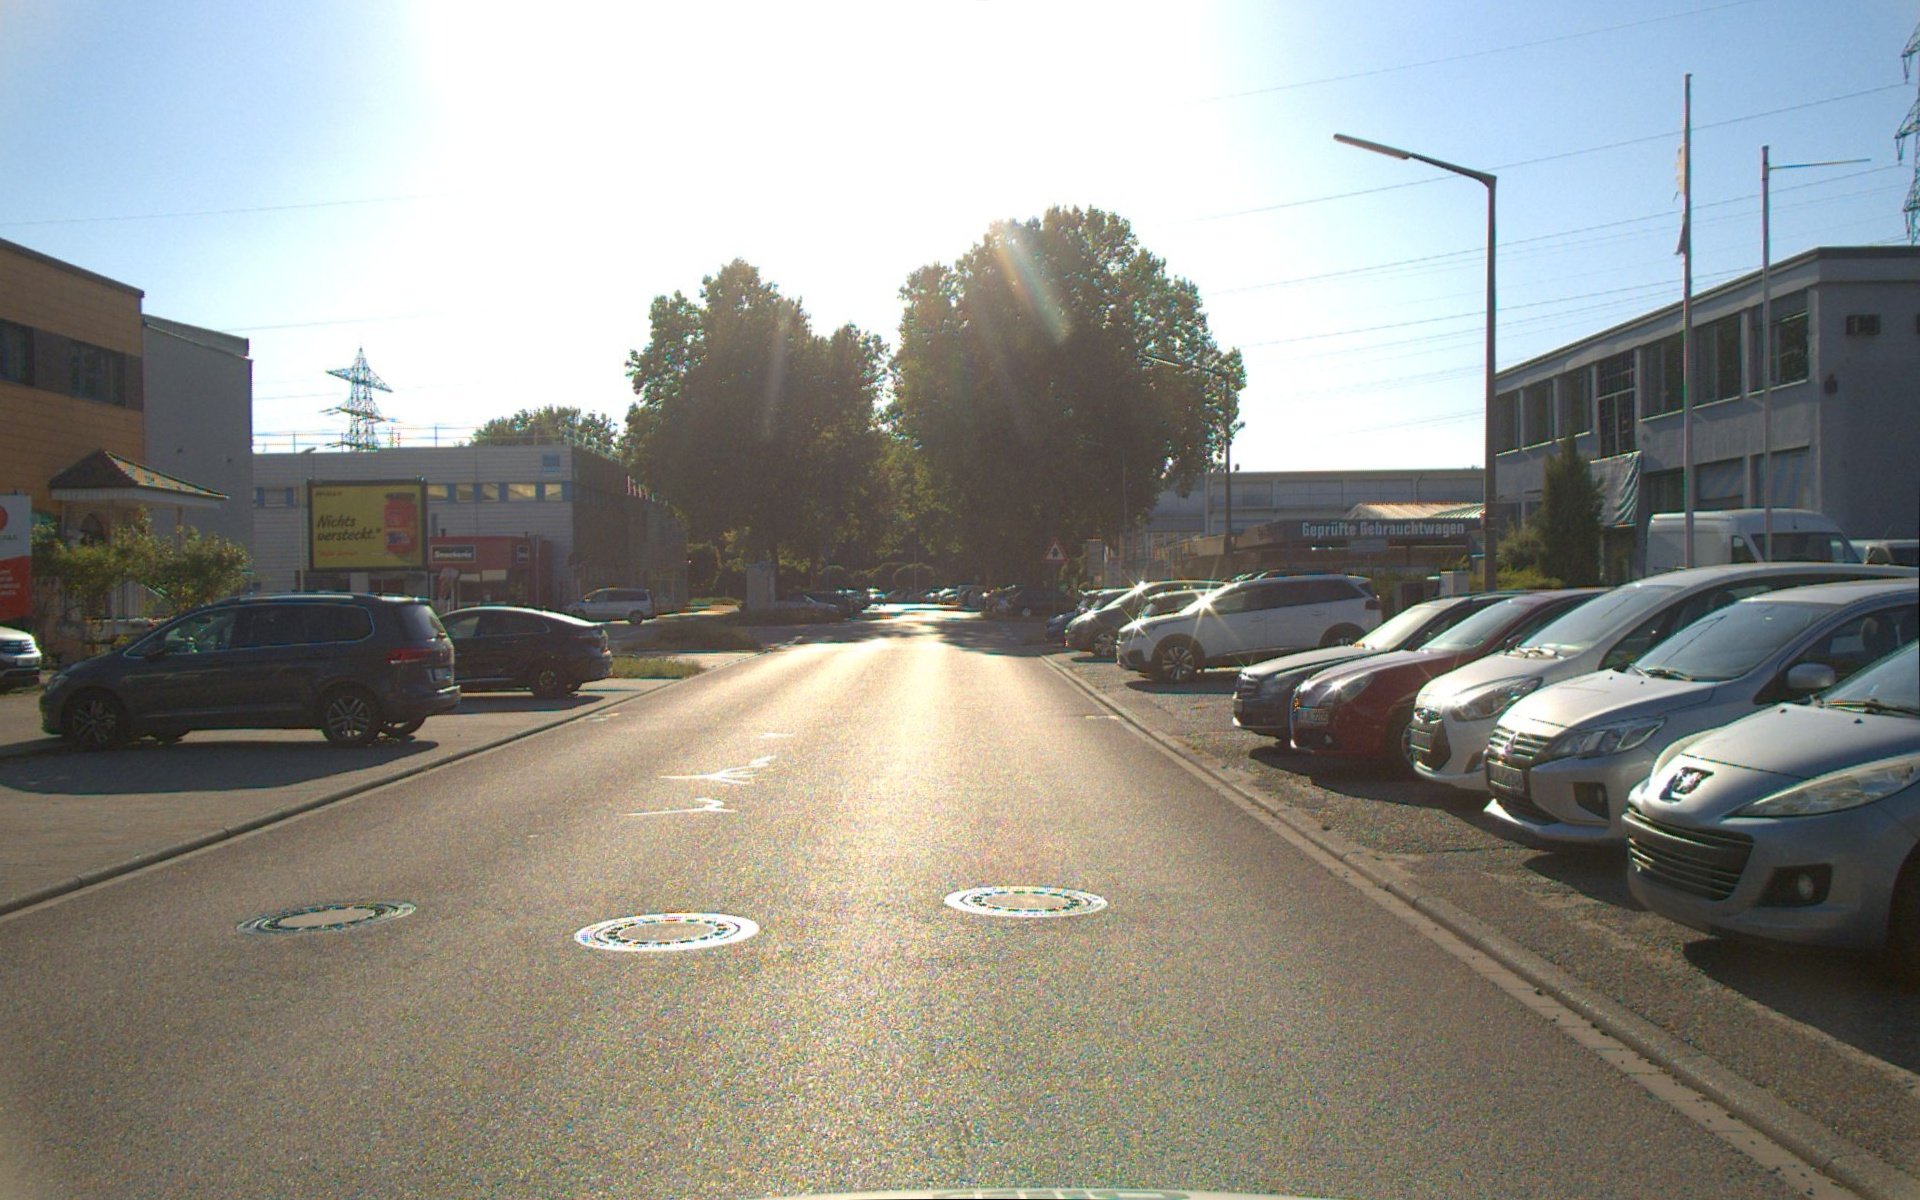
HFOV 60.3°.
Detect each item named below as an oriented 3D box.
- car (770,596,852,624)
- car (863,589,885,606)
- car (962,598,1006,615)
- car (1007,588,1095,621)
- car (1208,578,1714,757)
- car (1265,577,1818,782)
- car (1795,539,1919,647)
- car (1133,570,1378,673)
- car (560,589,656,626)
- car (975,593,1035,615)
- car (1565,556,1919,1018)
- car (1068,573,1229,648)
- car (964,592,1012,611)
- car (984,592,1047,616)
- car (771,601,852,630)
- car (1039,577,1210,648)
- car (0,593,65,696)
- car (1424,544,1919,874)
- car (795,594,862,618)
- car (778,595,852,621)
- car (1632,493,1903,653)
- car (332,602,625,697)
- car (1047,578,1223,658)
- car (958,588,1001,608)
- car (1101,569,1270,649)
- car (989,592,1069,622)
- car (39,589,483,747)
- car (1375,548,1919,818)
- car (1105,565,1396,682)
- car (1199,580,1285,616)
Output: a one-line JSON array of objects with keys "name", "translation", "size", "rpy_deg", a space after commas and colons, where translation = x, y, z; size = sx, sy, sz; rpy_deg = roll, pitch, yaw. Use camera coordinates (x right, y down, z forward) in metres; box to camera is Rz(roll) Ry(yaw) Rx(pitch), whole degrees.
[{"name": "car", "translation": [-7.971, 0.539, 88.614], "size": [4.330, 1.427, 1.997], "rpy_deg": [0, 0, -6]}, {"name": "car", "translation": [-8.523, -0.263, 164.096], "size": [1.953, 1.637, 3.999], "rpy_deg": [1, 0, -1]}, {"name": "car", "translation": [2.189, 0.617, 151.640], "size": [3.906, 1.440, 1.826], "rpy_deg": [-1, 0, -1]}, {"name": "car", "translation": [4.180, 0.207, 76.613], "size": [3.906, 1.440, 2.000], "rpy_deg": [-1, 0, -1]}, {"name": "car", "translation": [4.856, 0.624, 16.529], "size": [4.347, 1.461, 2.135], "rpy_deg": [-3, 0, -2]}, {"name": "car", "translation": [4.888, 0.646, 14.221], "size": [4.159, 1.633, 1.744], "rpy_deg": [0, 0, -5]}, {"name": "car", "translation": [17.176, -0.113, 30.045], "size": [1.953, 1.830, 3.999], "rpy_deg": [0, 0, -1]}, {"name": "car", "translation": [5.478, 0.389, 31.005], "size": [4.163, 1.651, 1.920], "rpy_deg": [-3, 0, -2]}, {"name": "car", "translation": [-17.470, 0.368, 82.041], "size": [4.555, 1.771, 1.991], "rpy_deg": [0, 0, -17]}, {"name": "car", "translation": [2.991, 0.271, 110.794], "size": [3.906, 1.405, 1.826], "rpy_deg": [-1, 0, -1]}, {"name": "car", "translation": [4.866, 0.590, 6.942], "size": [3.909, 1.615, 1.866], "rpy_deg": [-2, 0, -5]}, {"name": "car", "translation": [4.930, 0.275, 43.626], "size": [3.908, 1.681, 1.741], "rpy_deg": [-4, 0, -3]}, {"name": "car", "translation": [2.356, 0.137, 139.401], "size": [3.906, 1.440, 1.826], "rpy_deg": [-1, 0, -1]}, {"name": "car", "translation": [3.516, 0.243, 104.824], "size": [3.906, 1.440, 1.826], "rpy_deg": [-1, 0, -1]}, {"name": "car", "translation": [-8.126, 0.838, 90.789], "size": [4.327, 1.543, 1.999], "rpy_deg": [0, 0, -2]}, {"name": "car", "translation": [4.545, 0.332, 46.101], "size": [4.435, 1.702, 1.752], "rpy_deg": [-3, 0, -4]}, {"name": "car", "translation": [-16.694, 0.677, 26.338], "size": [3.831, 1.583, 1.887], "rpy_deg": [0, 0, -1]}, {"name": "car", "translation": [5.066, 0.531, 9.709], "size": [4.028, 1.646, 2.057], "rpy_deg": [-2, 0, -5]}, {"name": "car", "translation": [-8.910, 0.392, 112.012], "size": [4.324, 1.543, 2.000], "rpy_deg": [0, 0, 0]}, {"name": "car", "translation": [-8.838, 0.492, 101.369], "size": [4.324, 1.543, 2.000], "rpy_deg": [0, 0, 0]}, {"name": "car", "translation": [14.726, -0.443, 30.672], "size": [1.953, 2.671, 6.136], "rpy_deg": [0, 0, -1]}, {"name": "car", "translation": [-7.820, 0.790, 27.243], "size": [4.228, 1.485, 2.200], "rpy_deg": [0, 0, -4]}, {"name": "car", "translation": [4.070, 0.411, 38.449], "size": [3.902, 1.641, 2.001], "rpy_deg": [-2, -1, 6]}, {"name": "car", "translation": [1.814, -0.191, 155.408], "size": [3.906, 1.808, 1.826], "rpy_deg": [-1, 0, -1]}, {"name": "car", "translation": [5.616, 0.227, 41.508], "size": [3.906, 1.681, 1.801], "rpy_deg": [-4, 0, 0]}, {"name": "car", "translation": [3.485, 0.360, 83.942], "size": [3.906, 1.440, 1.826], "rpy_deg": [-1, 0, -1]}, {"name": "car", "translation": [-7.821, 0.744, 18.909], "size": [4.147, 1.684, 2.200], "rpy_deg": [0, 0, -4]}, {"name": "car", "translation": [5.266, 0.557, 11.935], "size": [4.028, 1.770, 1.882], "rpy_deg": [0, 0, -5]}, {"name": "car", "translation": [4.906, 0.390, 28.408], "size": [4.465, 1.625, 2.200], "rpy_deg": [-4, 0, -4]}, {"name": "car", "translation": [14.028, -0.110, 82.400], "size": [3.906, 1.730, 1.999], "rpy_deg": [0, 0, -2]}]
